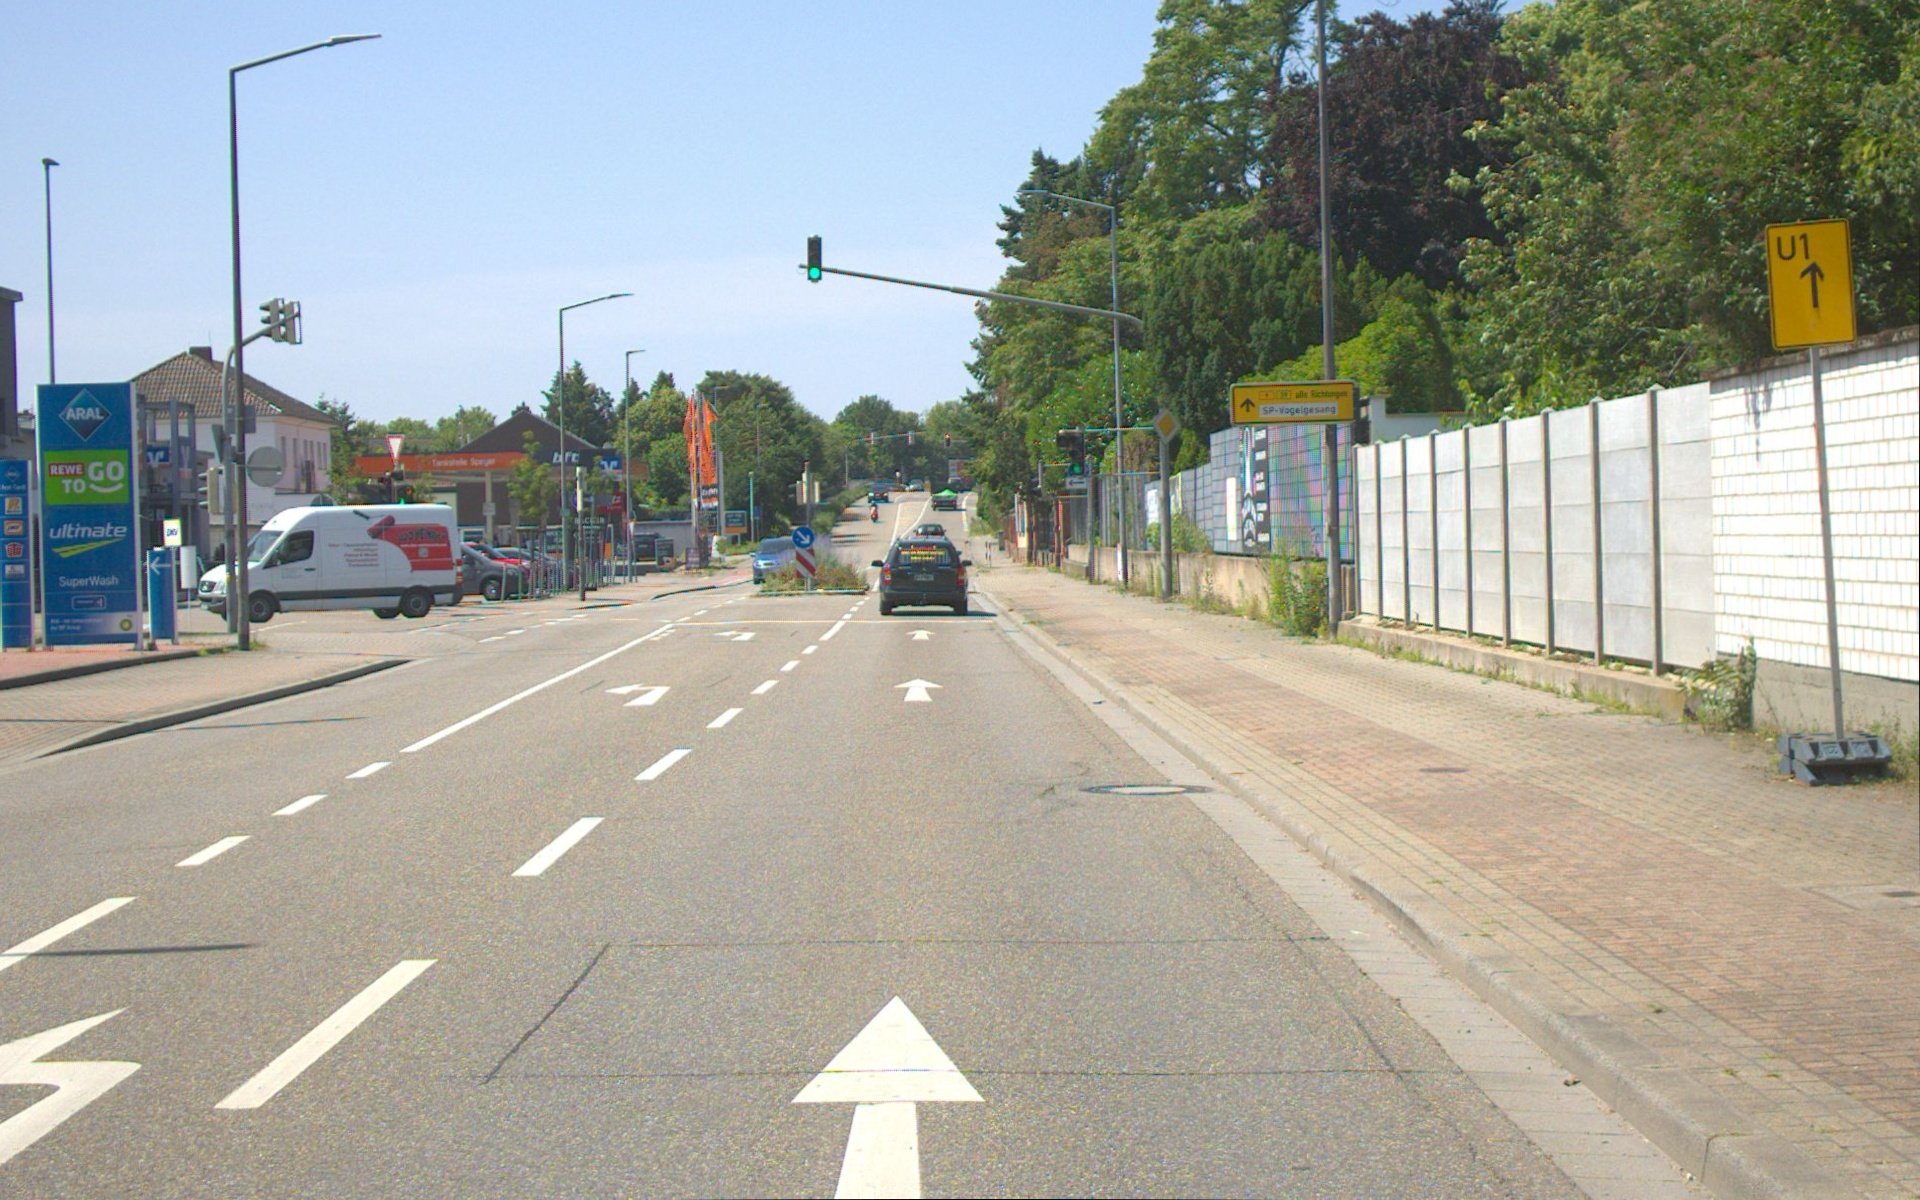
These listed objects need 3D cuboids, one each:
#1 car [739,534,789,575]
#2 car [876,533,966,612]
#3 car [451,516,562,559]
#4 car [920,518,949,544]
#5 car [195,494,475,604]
[{"bbox_3d":[-7.002,-1.626,123.116,1.586,1.388,3.472,-1,1,-1],"label":"car"},{"bbox_3d":[-0.756,-0.551,66.501,1.665,1.450,3.472,-1,1,-1],"label":"car"},{"bbox_3d":[-16.950,-2.350,128.585,3.986,1.503,1.555,-1,1,-4],"label":"car"},{"bbox_3d":[-1.497,-4.029,200.569,1.665,1.450,3.472,-1,1,-1],"label":"car"},{"bbox_3d":[-14.090,-1.115,77.685,5.928,2.414,2.000,0,0,-33],"label":"car"}]
